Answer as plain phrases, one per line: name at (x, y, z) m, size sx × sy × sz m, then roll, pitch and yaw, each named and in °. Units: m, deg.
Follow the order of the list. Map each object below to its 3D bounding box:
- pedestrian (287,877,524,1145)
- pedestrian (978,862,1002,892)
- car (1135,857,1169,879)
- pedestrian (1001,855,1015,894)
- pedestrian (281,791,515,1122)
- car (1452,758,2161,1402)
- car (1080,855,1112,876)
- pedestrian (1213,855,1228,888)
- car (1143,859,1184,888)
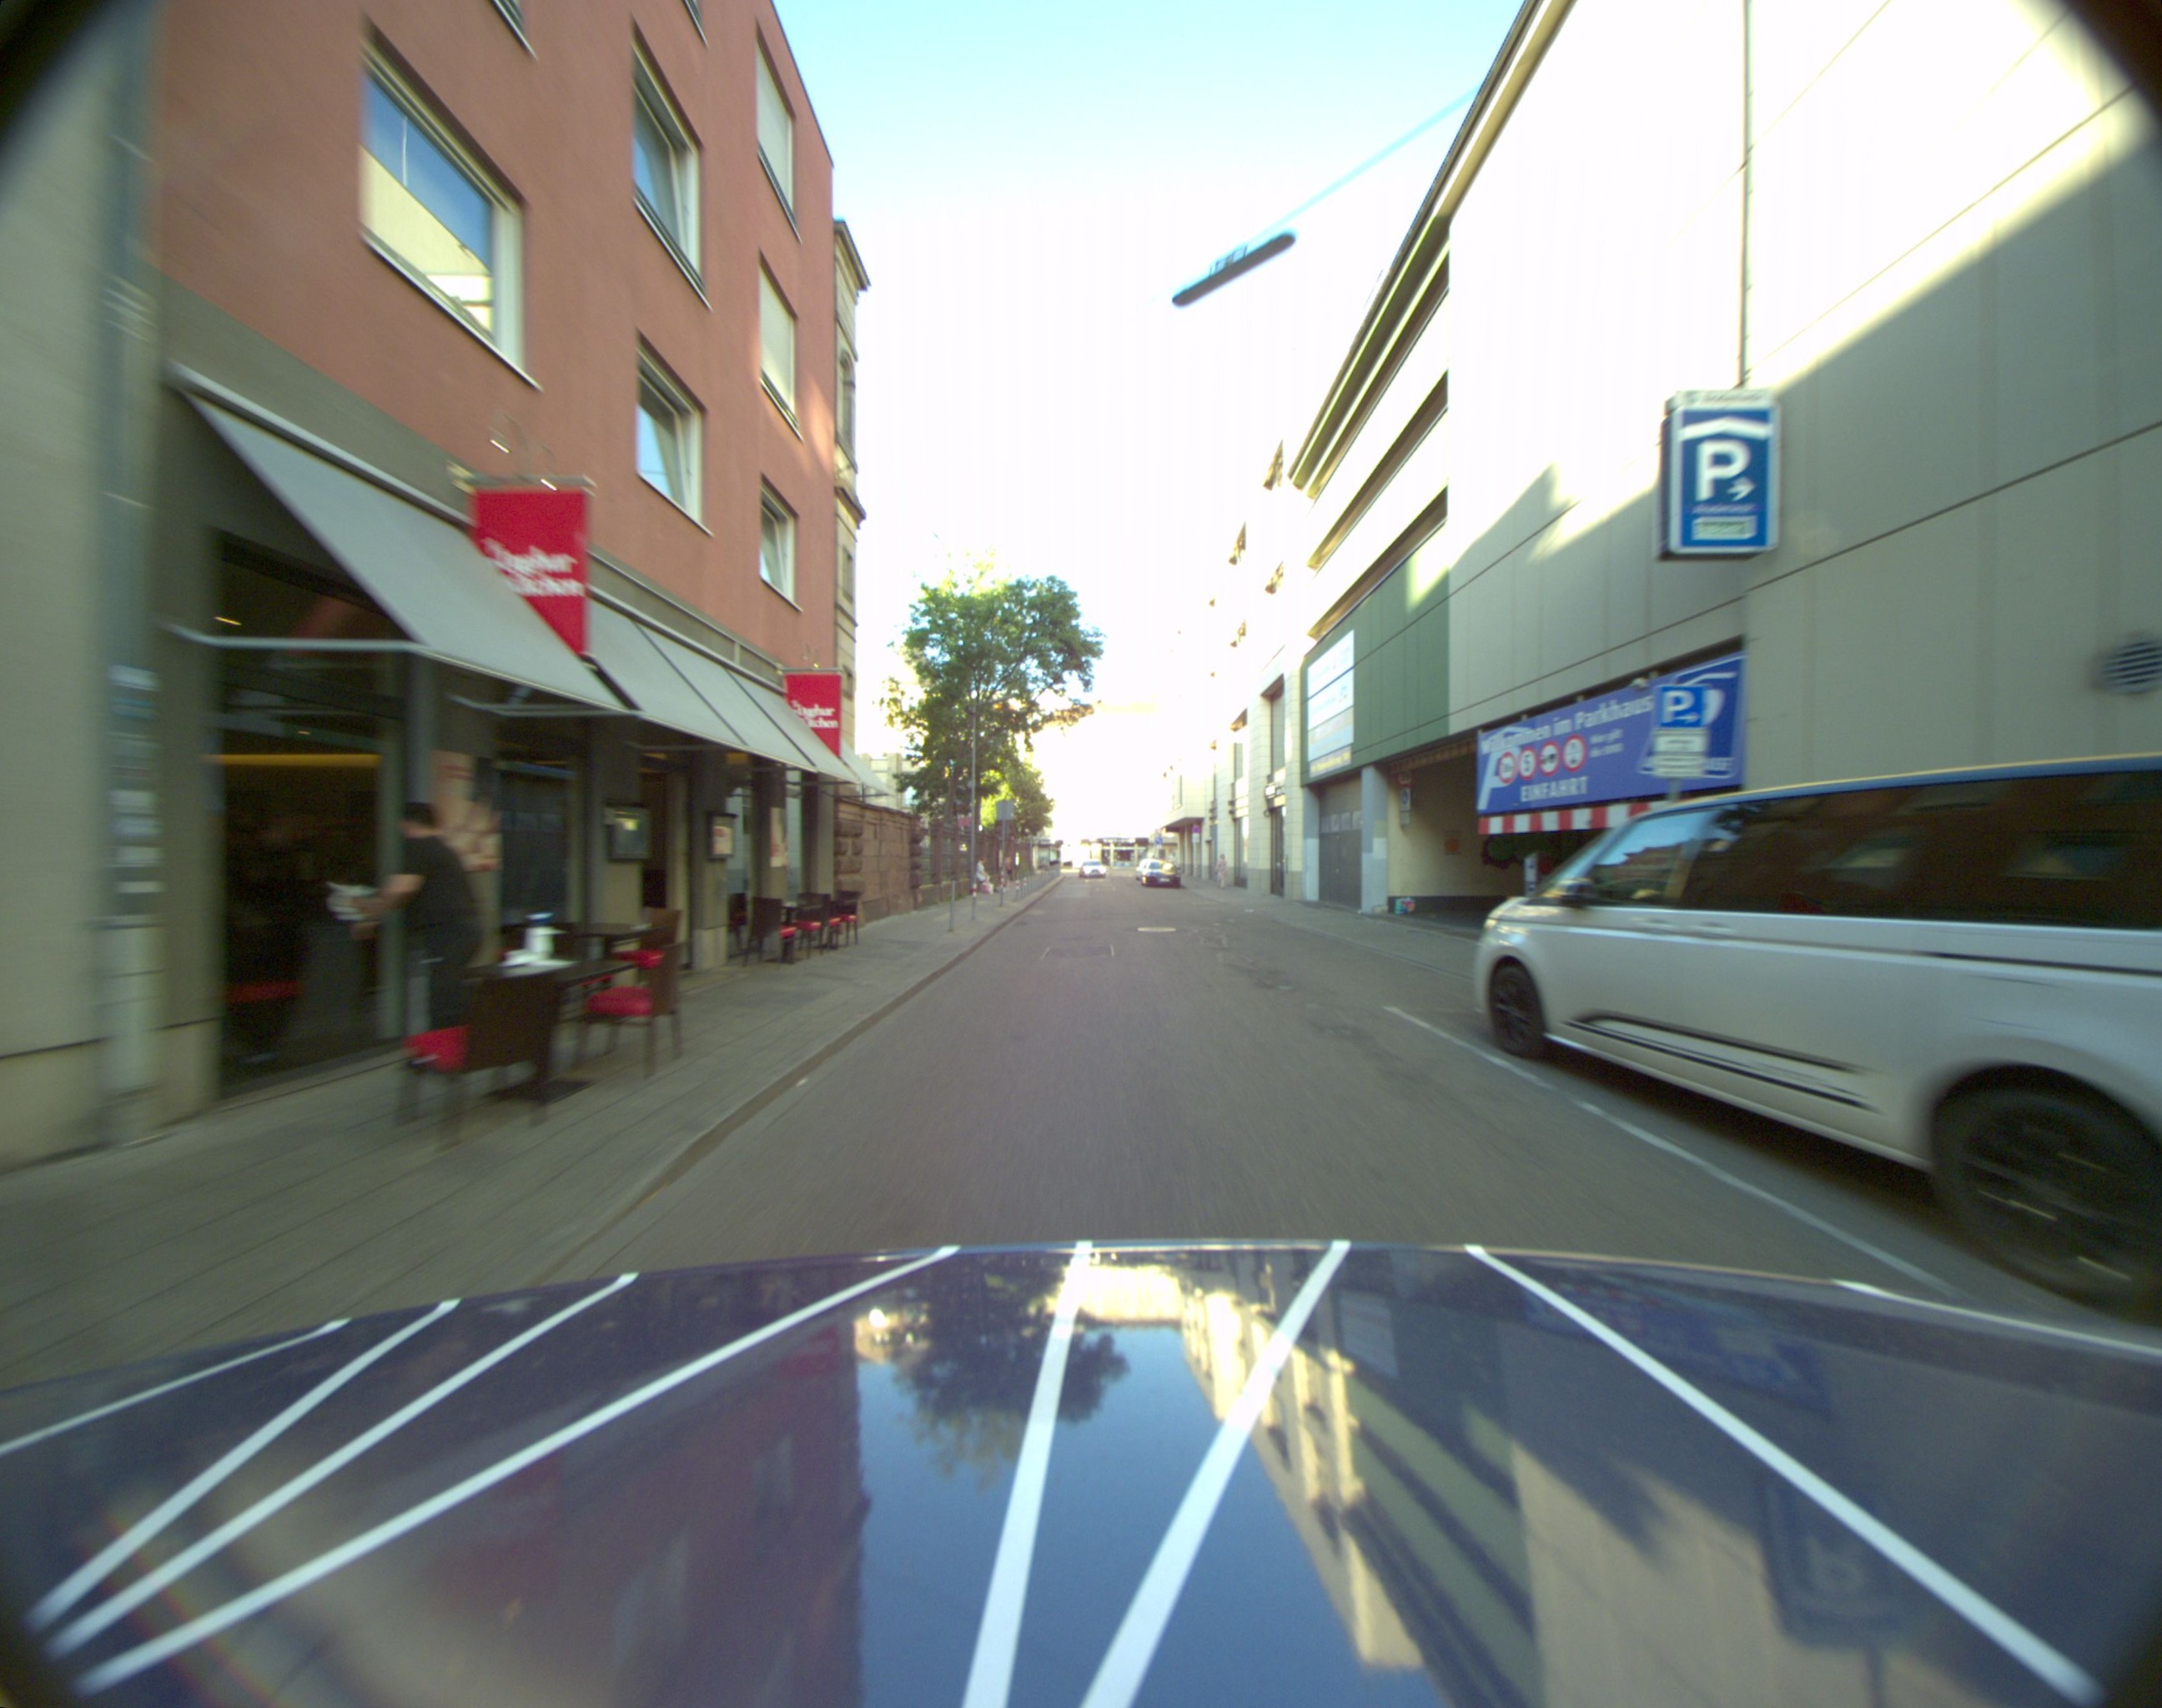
pedestrian at (-4.001, 0.886, 4.561) m, size 0.827 × 1.477 × 0.661 m, roll 0°, pitch 0°, yaw 0°
pedestrian at (-3.805, 0.970, 31.870) m, size 0.928 × 1.242 × 0.362 m, roll 1°, pitch 1°, yaw -2°
car at (4.777, 0.897, 51.587) m, size 1.818 × 1.440 × 3.628 m, roll 0°, pitch 0°, yaw -3°
pedestrian at (-3.082, 0.867, 32.057) m, size 0.437 × 1.637 × 0.558 m, roll 1°, pitch 1°, yaw 8°
pedestrian at (-4.016, 0.564, 4.529) m, size 0.659 × 1.782 × 0.730 m, roll 3°, pitch 0°, yaw 2°
car at (4.217, 0.698, 4.023) m, size 1.999 × 1.928 × 4.850 m, roll 1°, pitch 0°, yaw -1°
car at (1.130, 0.850, 59.120) m, size 1.790 × 1.515 × 3.997 m, roll -2°, pitch 0°, yaw -8°
pedestrian at (7.058, 0.878, 38.508) m, size 0.620 × 1.616 × 0.565 m, roll -1°, pitch 0°, yaw 1°
car at (4.507, 1.034, 42.076) m, size 1.998 × 1.409 × 4.559 m, roll 1°, pitch 1°, yaw 4°
